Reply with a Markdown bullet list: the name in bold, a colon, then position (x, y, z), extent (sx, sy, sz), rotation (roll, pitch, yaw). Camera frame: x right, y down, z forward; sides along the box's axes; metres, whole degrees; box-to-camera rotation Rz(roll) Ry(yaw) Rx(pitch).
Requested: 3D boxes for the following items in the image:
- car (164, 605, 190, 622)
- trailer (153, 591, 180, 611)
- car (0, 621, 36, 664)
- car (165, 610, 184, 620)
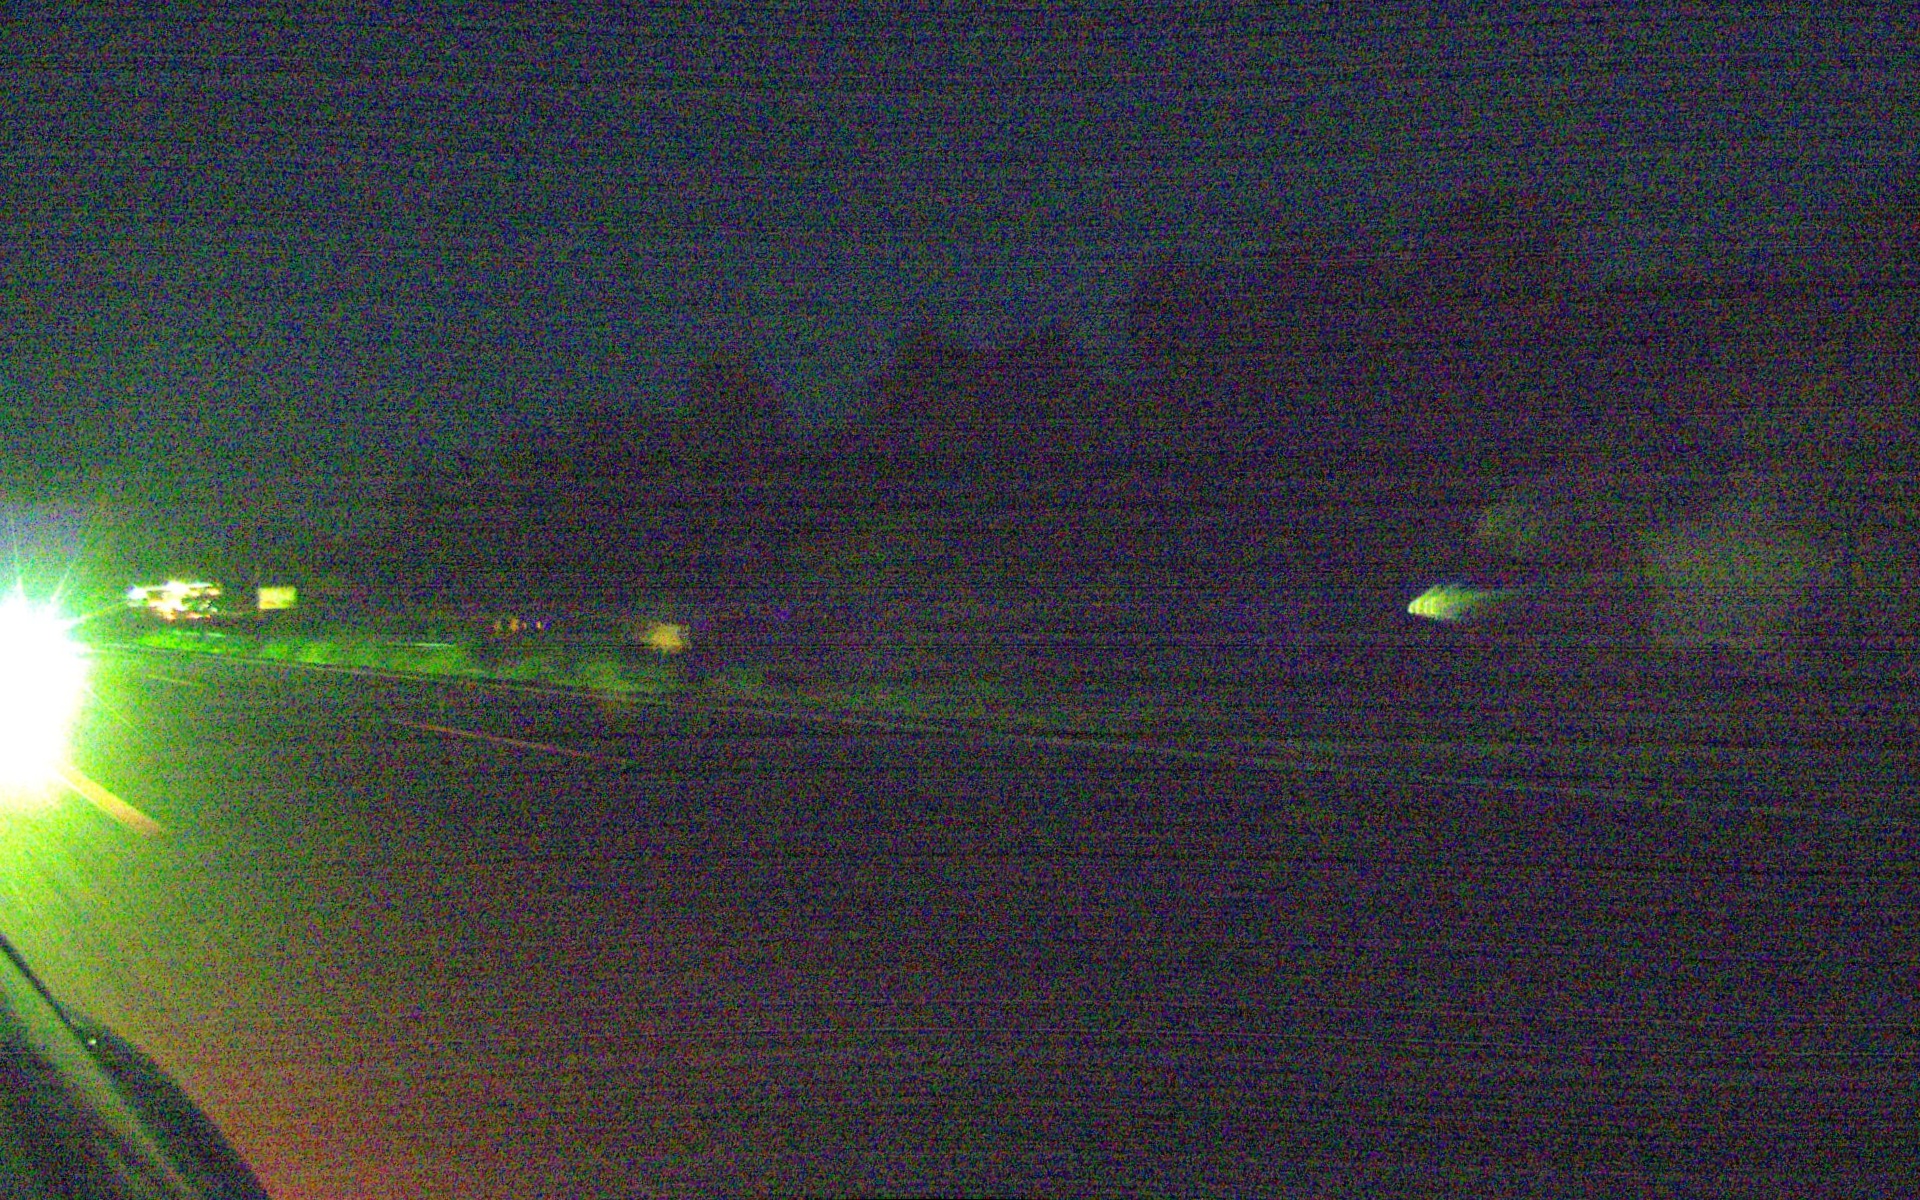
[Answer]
- **car**: position (-90.472, 1.594, 116.933), extent (1.970, 1.868, 4.081), rotation (0, -1, -43)
- **trailer**: position (-168.539, 0.336, 214.962), extent (3.555, 4.121, 14.141), rotation (0, 0, -42)
- **car**: position (-37.421, 1.648, 39.600), extent (1.806, 1.422, 4.005), rotation (-1, 2, -42)
- **car**: position (-140.193, 2.657, 180.578), extent (2.369, 1.890, 4.517), rotation (1, -1, -43)
